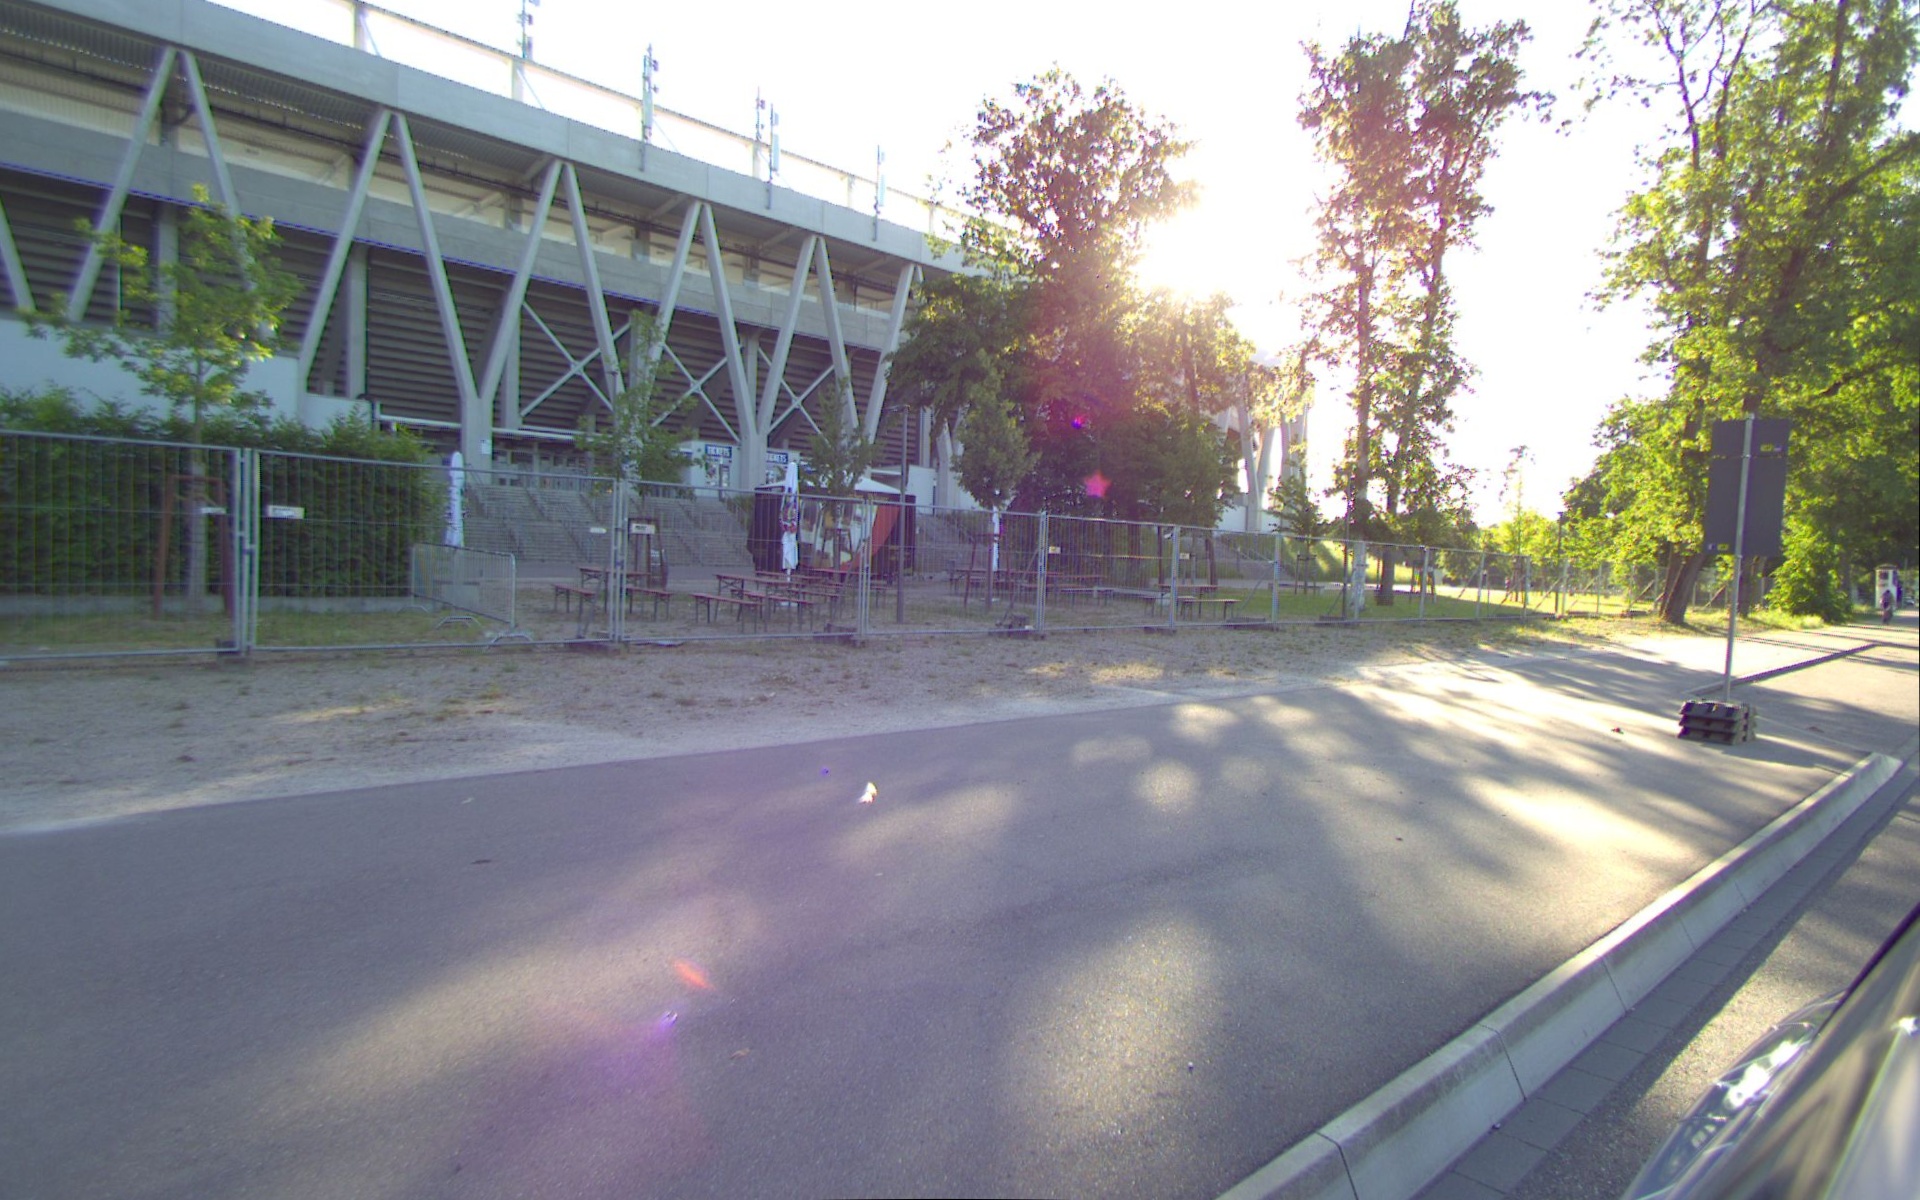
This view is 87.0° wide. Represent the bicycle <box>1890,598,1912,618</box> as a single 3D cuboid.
[{"bbox_3d":[42.628,0.338,45.836,1.876,0.869,0.481,0,2,-41],"label":"bicycle"}]

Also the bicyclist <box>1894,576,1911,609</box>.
[{"bbox_3d":[42.754,-0.344,45.902,0.565,1.438,0.451,0,2,-39],"label":"bicyclist"}]
